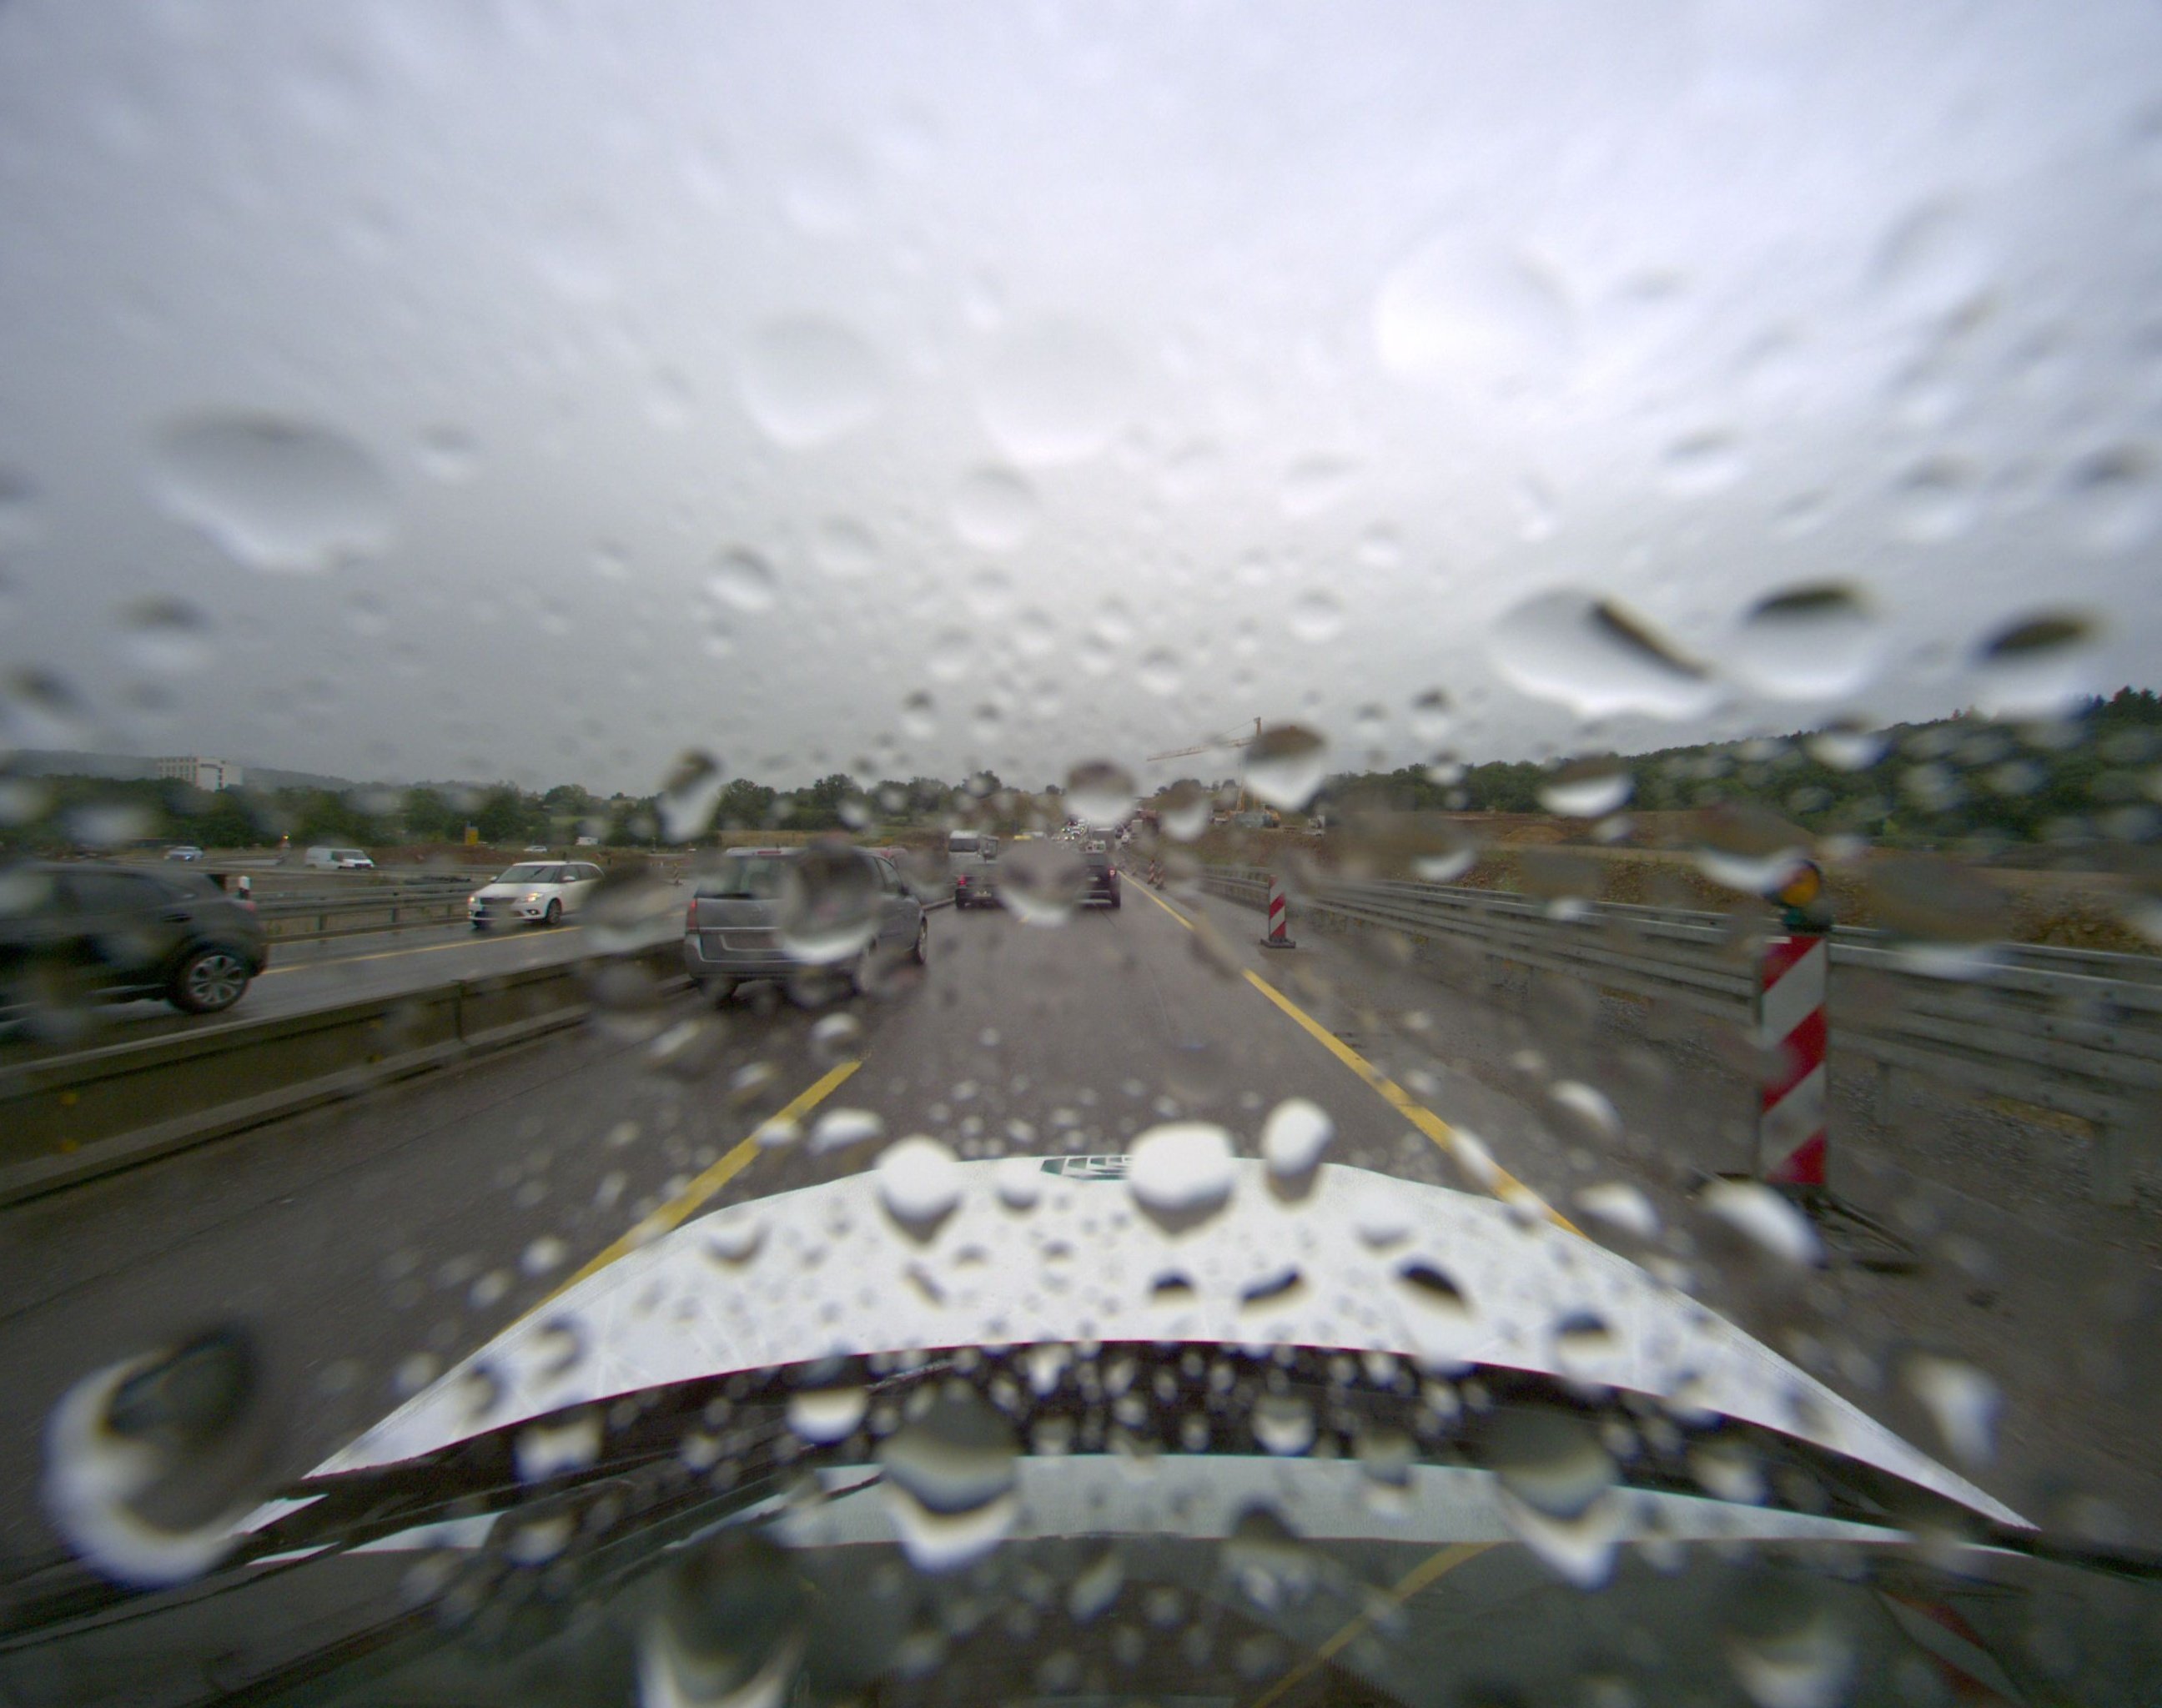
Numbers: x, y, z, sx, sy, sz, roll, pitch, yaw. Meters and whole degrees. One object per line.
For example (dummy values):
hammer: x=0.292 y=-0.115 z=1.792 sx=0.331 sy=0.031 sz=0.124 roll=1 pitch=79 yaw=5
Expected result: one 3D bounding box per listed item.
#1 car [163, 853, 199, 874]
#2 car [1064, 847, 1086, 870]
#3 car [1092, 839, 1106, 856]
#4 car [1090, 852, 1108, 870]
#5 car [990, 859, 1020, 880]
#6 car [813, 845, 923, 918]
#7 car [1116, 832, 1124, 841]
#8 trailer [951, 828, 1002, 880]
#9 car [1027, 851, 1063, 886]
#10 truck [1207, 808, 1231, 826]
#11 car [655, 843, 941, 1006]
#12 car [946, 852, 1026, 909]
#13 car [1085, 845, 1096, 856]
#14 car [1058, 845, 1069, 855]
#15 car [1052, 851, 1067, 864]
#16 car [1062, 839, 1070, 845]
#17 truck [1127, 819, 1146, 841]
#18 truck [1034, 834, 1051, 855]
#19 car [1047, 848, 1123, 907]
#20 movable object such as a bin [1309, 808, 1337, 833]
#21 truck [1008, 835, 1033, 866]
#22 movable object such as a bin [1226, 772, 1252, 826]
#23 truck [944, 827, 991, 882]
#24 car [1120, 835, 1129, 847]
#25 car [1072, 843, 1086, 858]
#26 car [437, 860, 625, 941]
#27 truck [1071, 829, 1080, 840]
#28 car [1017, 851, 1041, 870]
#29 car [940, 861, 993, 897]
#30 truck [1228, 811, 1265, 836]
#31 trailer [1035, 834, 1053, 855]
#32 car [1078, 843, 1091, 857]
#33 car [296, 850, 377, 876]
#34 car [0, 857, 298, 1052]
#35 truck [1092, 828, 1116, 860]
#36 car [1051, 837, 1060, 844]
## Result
car: x=-95.473 y=0.988 z=86.453 sx=2.082 sy=2.062 sz=4.785 roll=0 pitch=0 yaw=-42
car: x=-0.636 y=0.442 z=79.035 sx=1.988 sy=2.163 sz=4.137 roll=0 pitch=0 yaw=-2
car: x=2.584 y=-0.904 z=119.513 sx=1.986 sy=2.484 sz=4.983 roll=0 pitch=0 yaw=1
car: x=2.180 y=0.819 z=97.404 sx=1.986 sy=2.163 sz=4.142 roll=0 pitch=0 yaw=2
car: x=-5.346 y=1.064 z=57.879 sx=1.703 sy=1.453 sz=4.001 roll=0 pitch=0 yaw=1
car: x=-5.931 y=0.671 z=23.304 sx=1.840 sy=1.748 sz=4.843 roll=-3 pitch=1 yaw=0
car: x=9.496 y=-4.223 z=198.461 sx=1.987 sy=2.013 sz=4.001 roll=-1 pitch=2 yaw=1
trailer: x=-8.570 y=0.030 z=67.875 sx=2.676 sy=3.963 sz=9.821 roll=-2 pitch=0 yaw=1
car: x=-2.146 y=0.846 z=49.185 sx=1.987 sy=2.013 sz=3.893 roll=0 pitch=0 yaw=0
truck: x=21.961 y=-5.861 z=129.625 sx=2.636 sy=2.554 sz=6.984 roll=0 pitch=0 yaw=0
car: x=-3.158 y=0.699 z=10.116 sx=1.986 sy=1.600 sz=4.142 roll=0 pitch=0 yaw=2
car: x=-2.824 y=0.749 z=25.079 sx=1.987 sy=1.600 sz=4.139 roll=0 pitch=0 yaw=-1
car: x=1.925 y=-0.632 z=159.468 sx=1.986 sy=2.163 sz=4.142 roll=0 pitch=0 yaw=1
car: x=-3.223 y=-0.709 z=149.504 sx=1.859 sy=1.800 sz=4.163 roll=0 pitch=0 yaw=0
car: x=-3.026 y=0.475 z=115.592 sx=1.986 sy=1.759 sz=4.688 roll=0 pitch=0 yaw=1
car: x=-3.575 y=-2.823 z=190.078 sx=1.766 sy=1.504 sz=4.679 roll=-1 pitch=1 yaw=0
truck: x=13.621 y=-5.846 z=201.166 sx=3.791 sy=5.042 sz=12.921 roll=0 pitch=0 yaw=0
truck: x=-6.848 y=-1.719 z=144.944 sx=2.612 sy=3.677 sz=6.595 roll=0 pitch=0 yaw=0
car: x=0.171 y=0.635 z=24.368 sx=2.073 sy=1.600 sz=4.142 roll=0 pitch=0 yaw=2
movable object such as a bin: x=37.532 y=-5.208 z=126.509 sx=2.335 sy=3.599 sz=6.555 roll=0 pitch=0 yaw=-2
truck: x=-8.241 y=-0.486 z=111.182 sx=2.740 sy=4.062 sz=6.149 roll=0 pitch=0 yaw=1
movable object such as a bin: x=34.405 y=-11.761 z=176.768 sx=4.683 sy=10.842 sz=10.346 roll=0 pitch=0 yaw=15
truck: x=-8.677 y=0.031 z=62.645 sx=2.676 sy=3.927 sz=5.274 roll=-2 pitch=0 yaw=1
car: x=9.352 y=-2.754 z=175.889 sx=1.986 sy=2.484 sz=4.743 roll=0 pitch=0 yaw=2
car: x=-0.230 y=-0.526 z=124.548 sx=1.986 sy=2.163 sz=4.141 roll=0 pitch=0 yaw=1
car: x=-13.122 y=1.026 z=19.803 sx=1.842 sy=1.576 sz=4.264 roll=-3 pitch=1 yaw=-5
truck: x=-1.367 y=-5.049 z=208.836 sx=2.071 sy=2.576 sz=5.962 roll=0 pitch=0 yaw=0
car: x=-5.108 y=0.599 z=80.476 sx=1.868 sy=1.793 sz=5.360 roll=-1 pitch=0 yaw=1
car: x=-5.917 y=1.251 z=42.462 sx=1.986 sy=1.655 sz=4.471 roll=-2 pitch=0 yaw=1
truck: x=21.685 y=-3.942 z=107.117 sx=3.382 sy=2.875 sz=8.965 roll=0 pitch=0 yaw=2
trailer: x=-6.800 y=-1.715 z=150.727 sx=2.611 sy=3.677 sz=12.003 roll=0 pitch=0 yaw=0
car: x=0.636 y=-0.641 z=135.214 sx=1.986 sy=2.163 sz=4.142 roll=0 pitch=0 yaw=1
car: x=-58.864 y=0.704 z=64.405 sx=4.994 sy=2.013 sz=2.280 roll=0 pitch=0 yaw=13
car: x=-9.565 y=0.837 z=6.956 sx=1.814 sy=1.496 sz=4.000 roll=-1 pitch=1 yaw=0
truck: x=4.055 y=-1.641 z=142.854 sx=3.083 sy=5.426 sz=9.466 roll=0 pitch=0 yaw=9
car: x=-5.938 y=-3.118 z=189.633 sx=1.782 sy=1.546 sz=4.000 roll=0 pitch=1 yaw=0
